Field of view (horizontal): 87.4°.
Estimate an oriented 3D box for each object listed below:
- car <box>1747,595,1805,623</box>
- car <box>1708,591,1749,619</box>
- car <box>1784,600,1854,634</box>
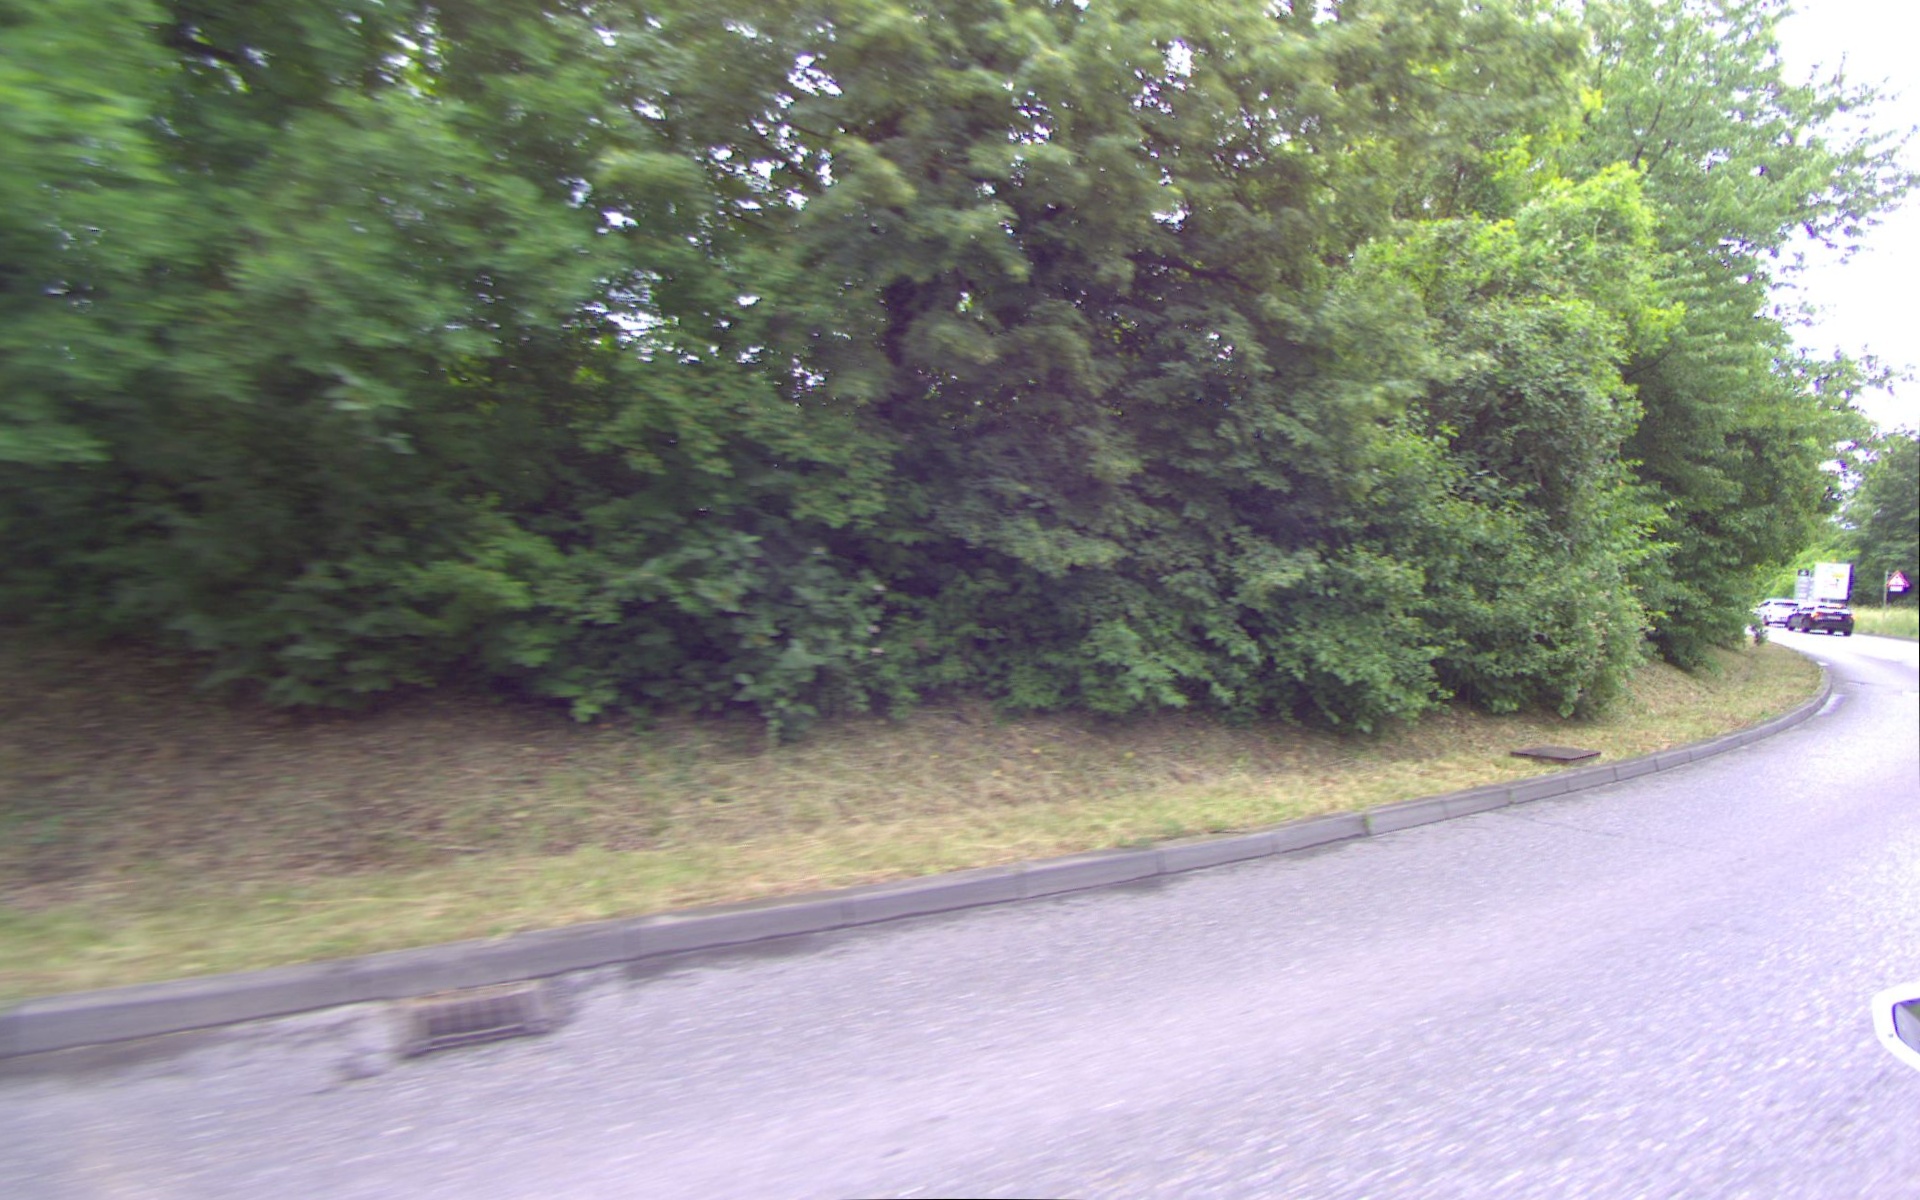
[{"bbox_3d":[45.411,0.482,55.987,1.812,1.406,3.992,2,2,29],"label":"car"},{"bbox_3d":[49.928,0.367,65.300,1.746,1.655,3.882,2,0,33],"label":"car"},{"bbox_3d":[40.596,0.777,47.561,1.813,1.406,3.991,3,2,31],"label":"car"}]
